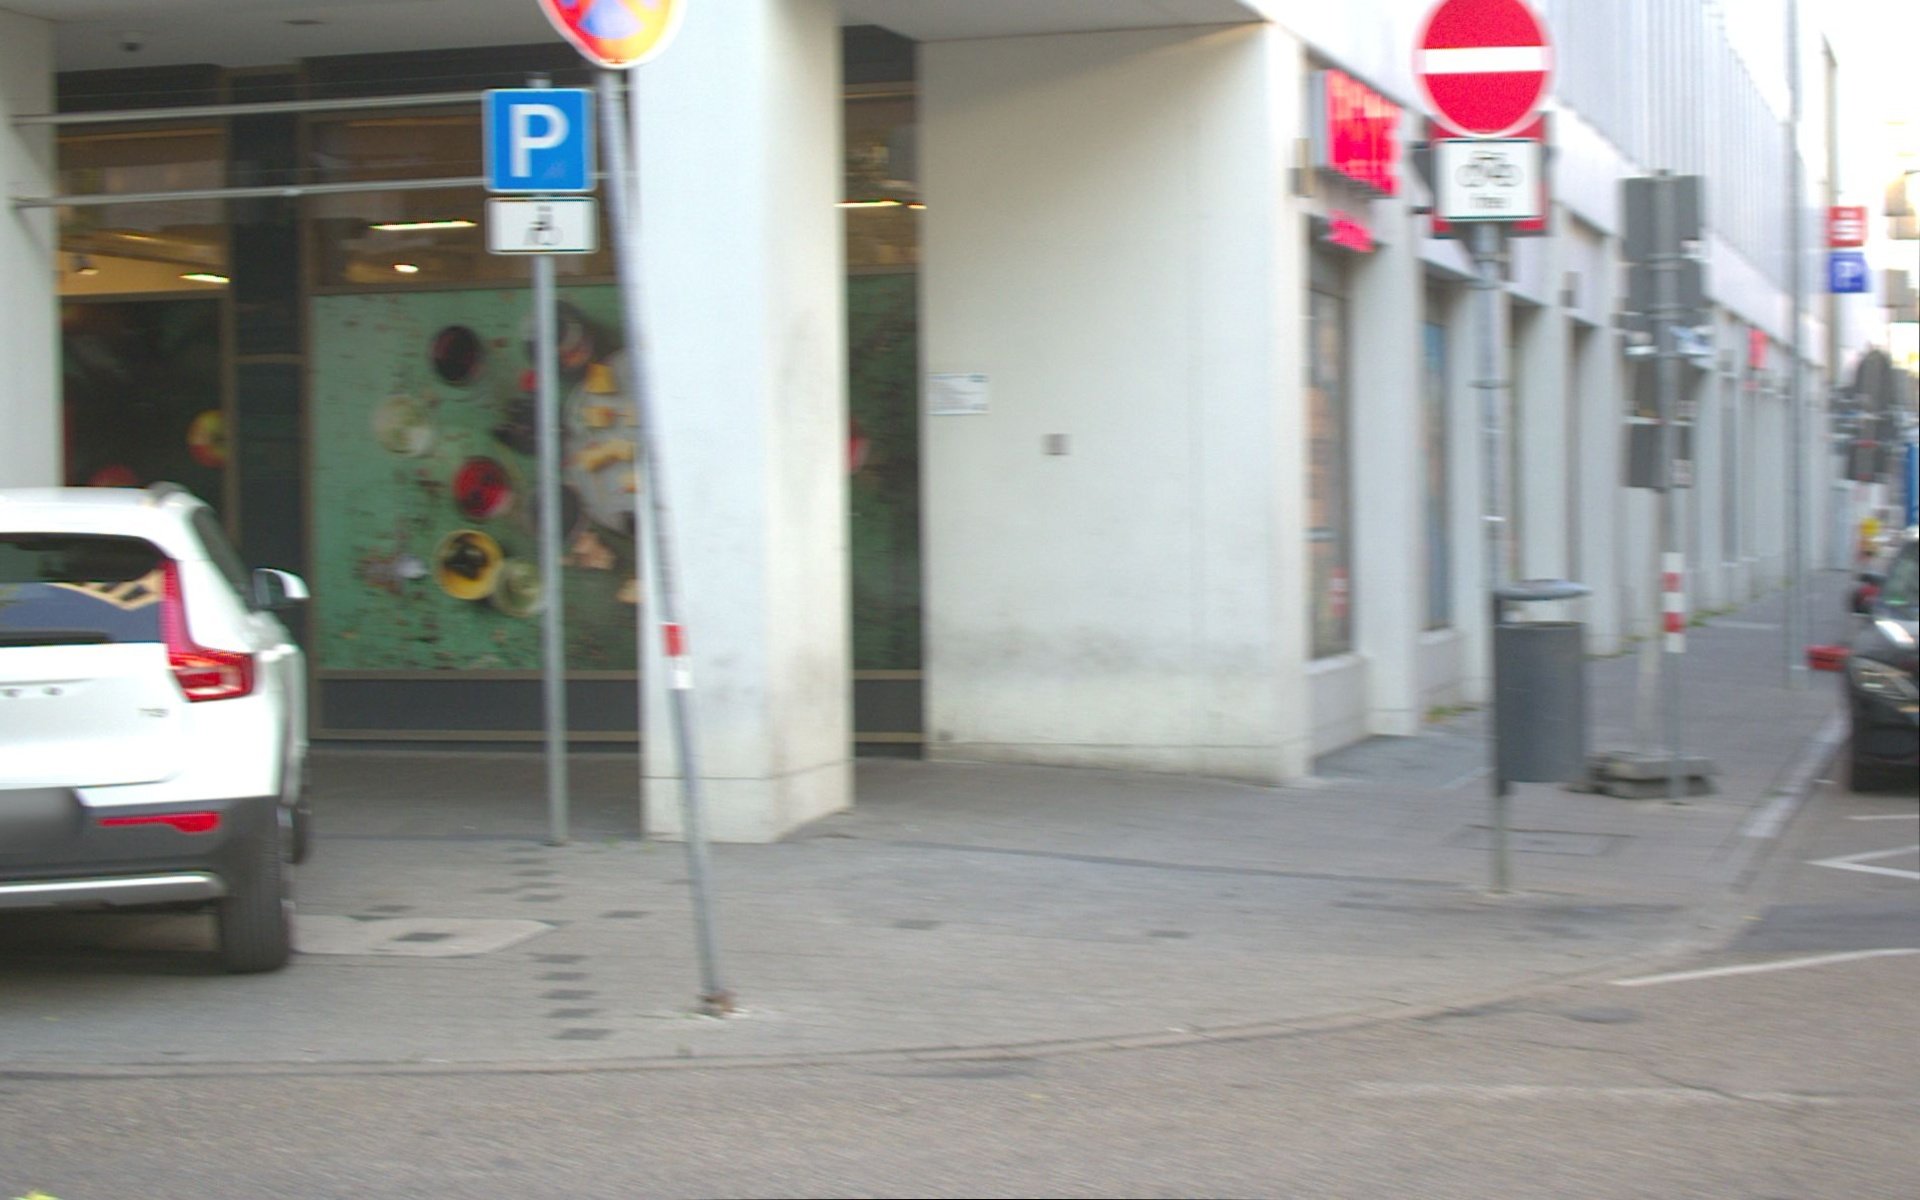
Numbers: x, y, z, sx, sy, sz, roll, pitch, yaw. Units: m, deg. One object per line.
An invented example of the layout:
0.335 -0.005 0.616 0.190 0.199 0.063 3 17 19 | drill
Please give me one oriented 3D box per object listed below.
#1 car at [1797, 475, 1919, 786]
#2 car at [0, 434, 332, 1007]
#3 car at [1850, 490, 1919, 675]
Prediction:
5.954 0.095 19.640 1.899 1.607 4.148 -1 1 19 | car
-3.441 0.299 12.686 1.945 1.666 4.275 -3 4 -8 | car
8.672 -0.209 29.320 1.775 1.470 4.148 -1 1 19 | car
